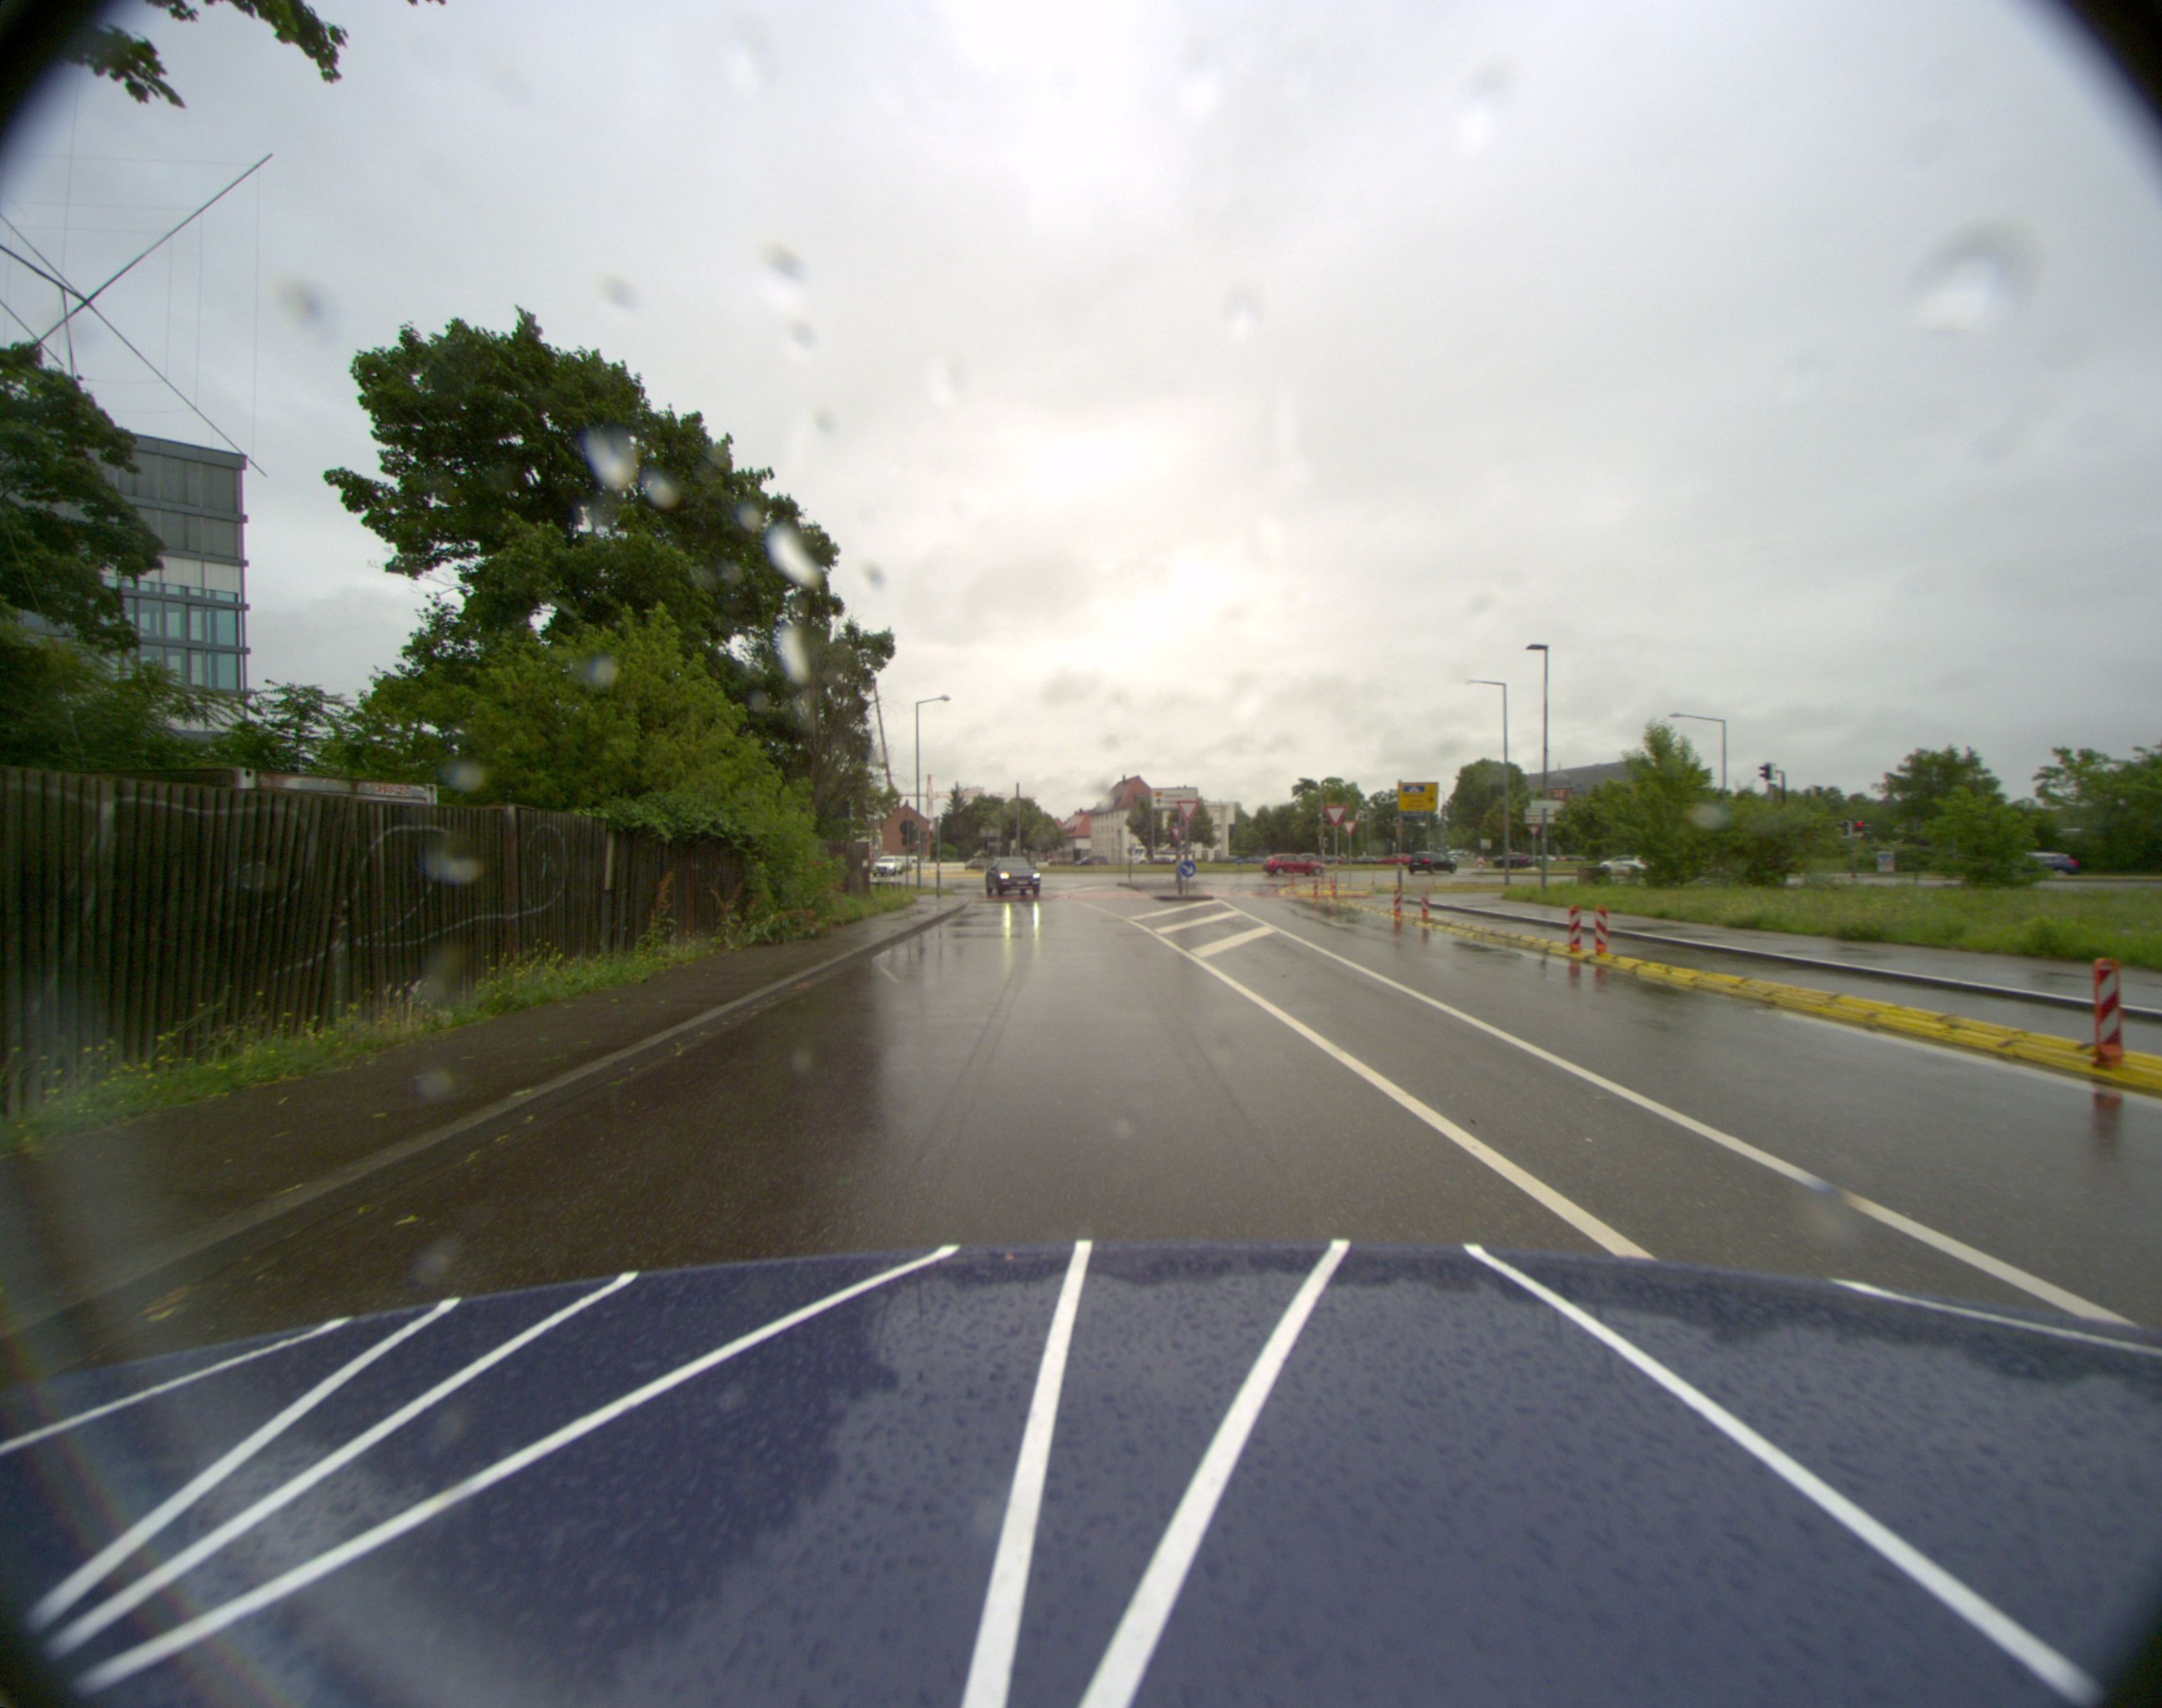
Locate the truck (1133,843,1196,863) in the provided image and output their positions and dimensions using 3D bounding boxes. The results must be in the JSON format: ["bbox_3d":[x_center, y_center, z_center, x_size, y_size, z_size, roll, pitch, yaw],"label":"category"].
[{"bbox_3d":[11.883,-0.149,108.675,8.789,2.696,1.999,-1,3,2],"label":"truck"}]

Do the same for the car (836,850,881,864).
[{"bbox_3d":[-34.563,0.438,117.996,6.414,2.003,2.359,0,3,17],"label":"car"}]

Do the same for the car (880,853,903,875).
[{"bbox_3d":[-17.389,0.907,69.898,1.778,1.734,4.859,-1,2,-11],"label":"car"}]

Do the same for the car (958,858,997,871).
[{"bbox_3d":[-12.951,1.290,95.128,4.555,1.484,1.607,-2,3,-26],"label":"car"}]

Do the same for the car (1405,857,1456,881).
[{"bbox_3d":[25.391,1.072,55.121,4.340,1.509,1.784,-2,1,-42],"label":"car"}]

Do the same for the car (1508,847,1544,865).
[{"bbox_3d":[45.163,0.150,77.175,1.786,1.639,4.390,0,2,11],"label":"car"}]

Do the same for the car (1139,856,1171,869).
[{"bbox_3d":[9.821,1.158,101.145,3.998,1.639,1.788,-1,3,-4],"label":"car"}]

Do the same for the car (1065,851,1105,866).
[{"bbox_3d":[0.456,0.536,98.124,4.868,1.734,1.775,-1,3,-13],"label":"car"}]

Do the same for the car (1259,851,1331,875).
[{"bbox_3d":[14.518,0.600,51.641,4.312,1.451,1.788,-2,1,-1],"label":"car"}]

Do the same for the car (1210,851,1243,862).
[{"bbox_3d":[18.880,0.354,98.638,3.991,1.441,1.850,-1,0,20],"label":"car"}]

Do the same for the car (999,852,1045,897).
[{"bbox_3d":[-2.757,0.878,34.566,1.917,1.737,4.378,-1,2,-6],"label":"car"}]

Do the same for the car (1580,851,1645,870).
[{"bbox_3d":[45.257,0.530,64.813,1.634,1.368,4.240,-2,3,-25],"label":"car"}]

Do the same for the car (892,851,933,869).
[{"bbox_3d":[-28.939,1.073,130.471,6.414,2.923,2.359,0,3,17],"label":"car"}]
